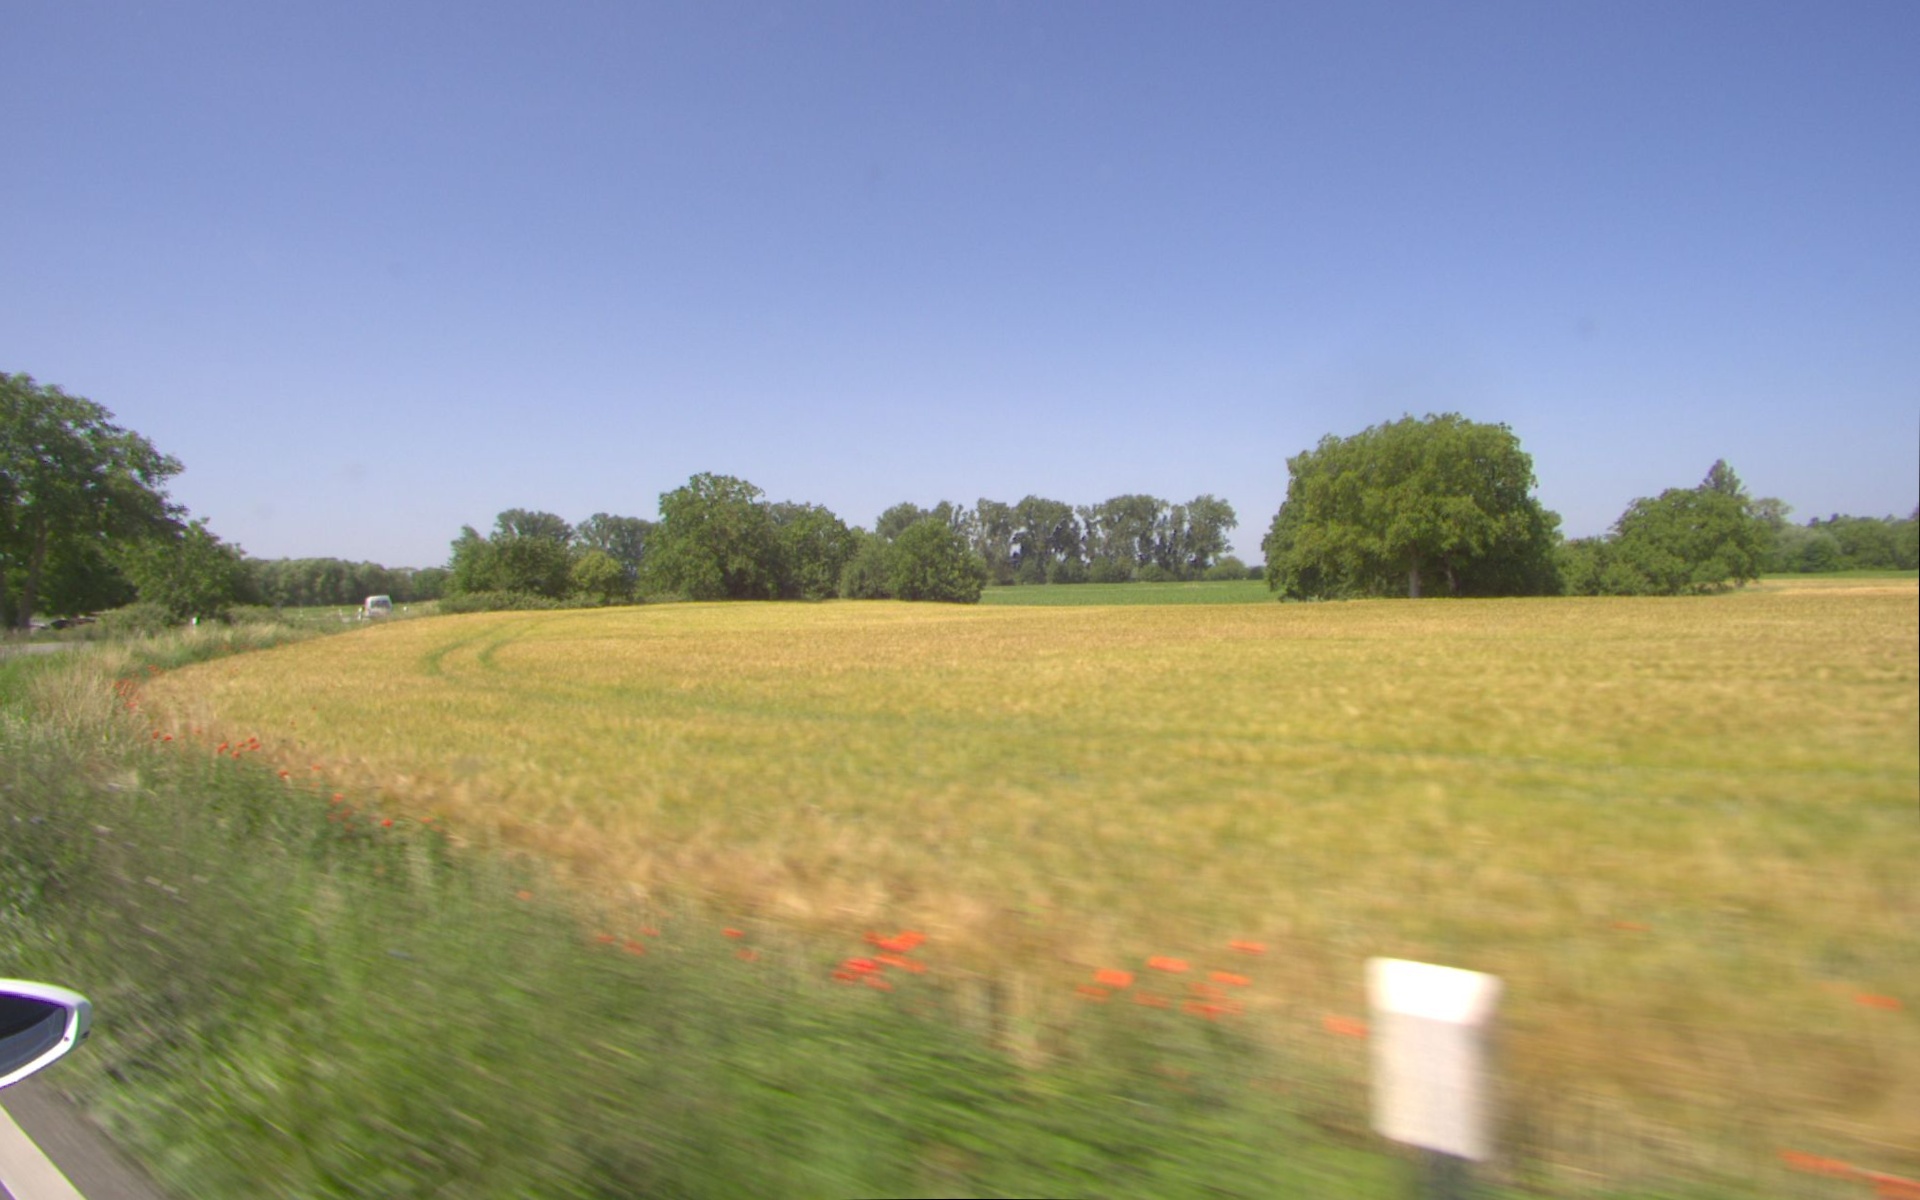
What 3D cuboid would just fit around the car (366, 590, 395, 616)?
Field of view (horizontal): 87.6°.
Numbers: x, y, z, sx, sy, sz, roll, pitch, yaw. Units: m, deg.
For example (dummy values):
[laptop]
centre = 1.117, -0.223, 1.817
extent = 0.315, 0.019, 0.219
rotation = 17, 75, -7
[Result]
[car]
centre = -56.661, 0.239, 97.891
extent = 2.082, 2.399, 5.649
rotation = -2, 2, -33
